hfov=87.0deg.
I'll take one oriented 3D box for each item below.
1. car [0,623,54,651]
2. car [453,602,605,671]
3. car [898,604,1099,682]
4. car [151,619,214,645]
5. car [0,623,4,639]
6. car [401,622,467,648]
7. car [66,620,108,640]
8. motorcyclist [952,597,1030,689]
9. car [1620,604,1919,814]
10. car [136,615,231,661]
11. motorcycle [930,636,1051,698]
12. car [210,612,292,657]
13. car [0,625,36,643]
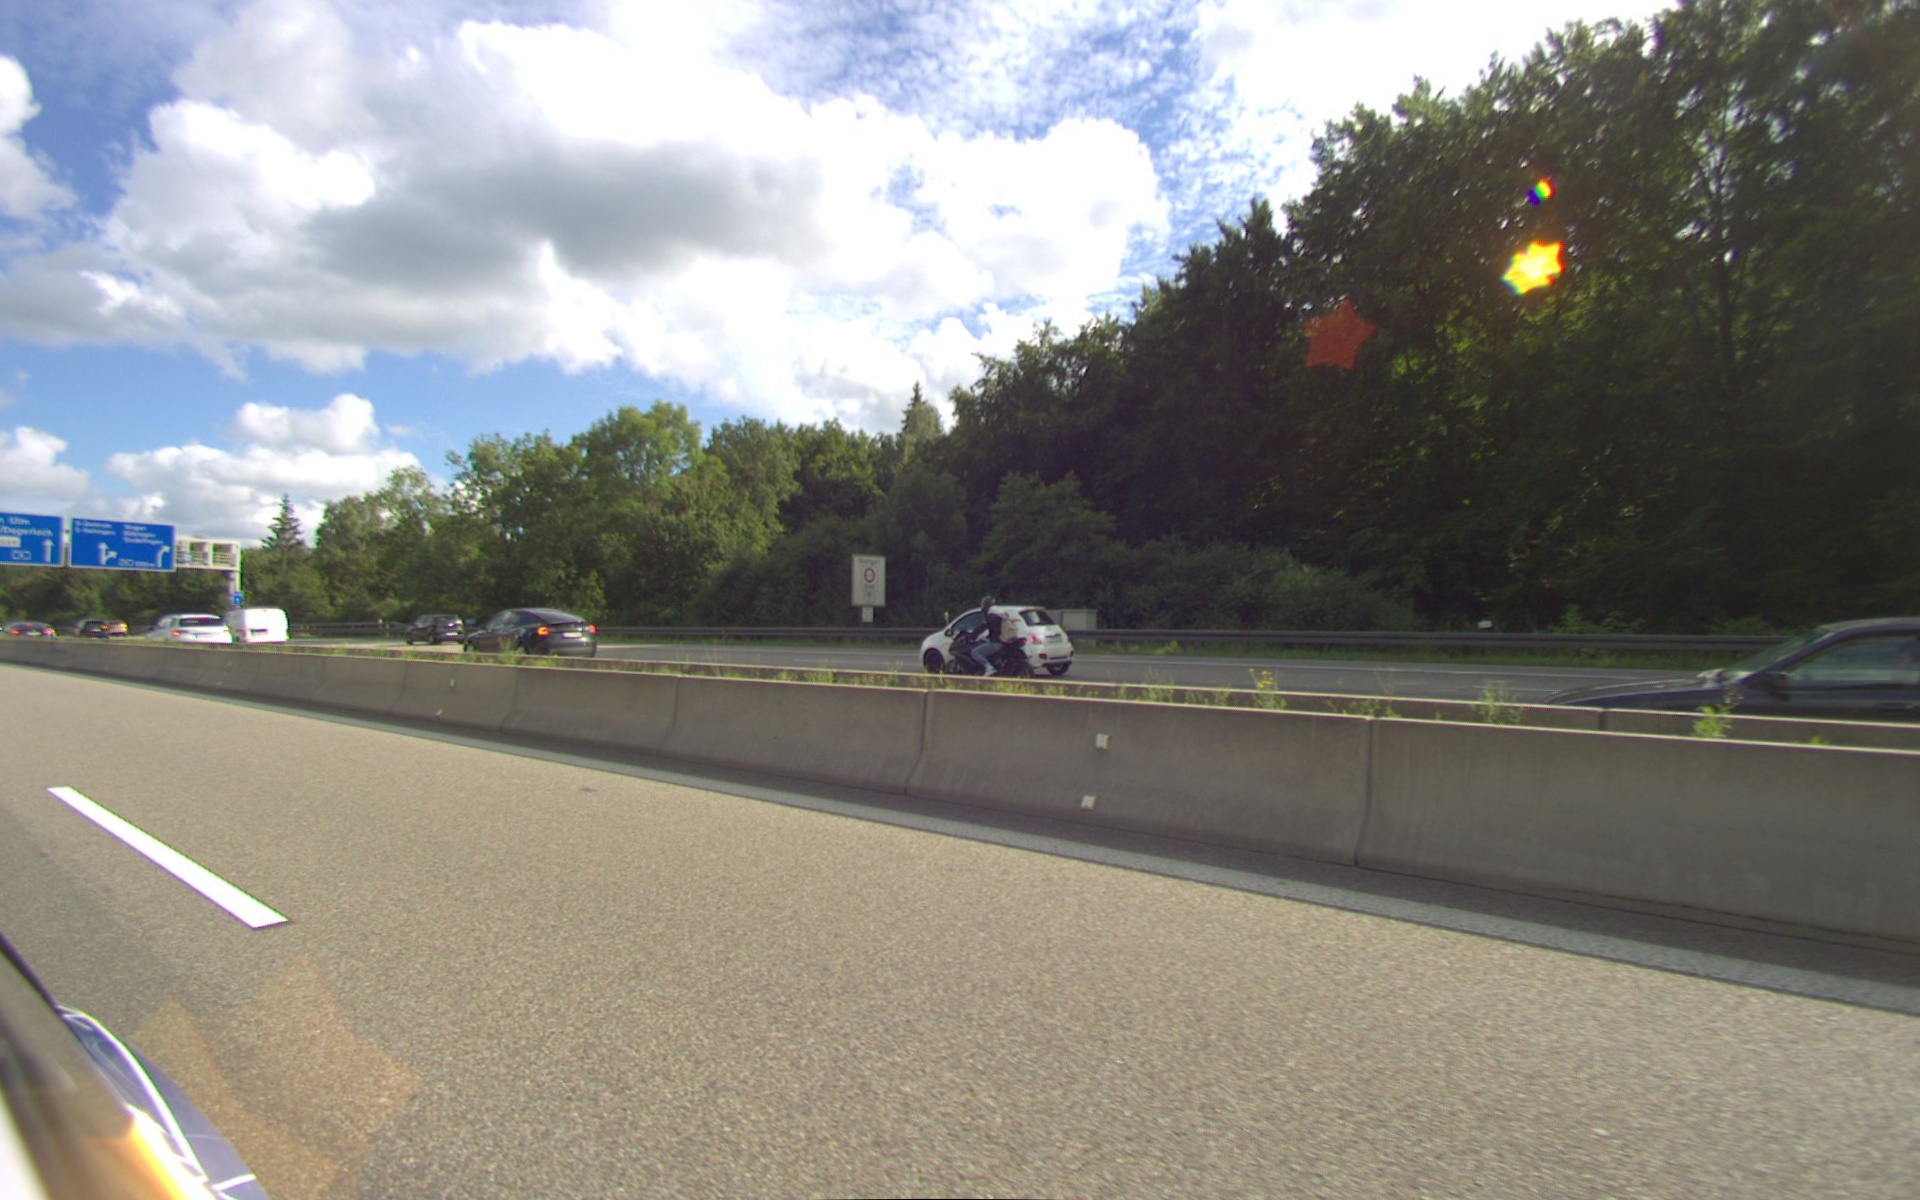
[{"bbox_3d":[-50.200,1.965,54.046,4.743,1.401,1.974,-1,-1,39],"label":"car"},{"bbox_3d":[-11.765,0.945,27.487,4.677,1.700,1.973,-1,-1,41],"label":"car"},{"bbox_3d":[0.769,0.869,21.865,4.128,1.509,1.828,-1,0,42],"label":"car"},{"bbox_3d":[-47.722,1.945,62.097,4.665,1.484,2.051,-1,-1,38],"label":"car"},{"bbox_3d":[-105.232,3.358,109.772,4.473,1.652,1.650,-1,-1,38],"label":"car"},{"bbox_3d":[-25.867,1.694,49.708,3.784,1.221,1.479,-1,-1,39],"label":"car"},{"bbox_3d":[-70.171,2.389,81.336,4.624,1.490,1.705,-1,-1,38],"label":"car"},{"bbox_3d":[0.513,0.707,17.087,1.074,1.487,0.746,-1,-1,40],"label":"motorcyclist"},{"bbox_3d":[6.985,0.686,6.701,4.195,1.317,1.666,-1,-1,41],"label":"car"},{"bbox_3d":[-27.511,1.318,35.784,4.676,1.519,1.736,-1,-1,40],"label":"car"},{"bbox_3d":[0.488,1.106,17.102,2.250,0.963,0.477,-1,-1,41],"label":"motorcycle"},{"bbox_3d":[-31.347,1.500,44.695,4.729,1.851,1.972,-1,-1,43],"label":"car"},{"bbox_3d":[-67.785,2.429,72.487,4.432,1.209,1.632,-1,-1,37],"label":"car"}]
